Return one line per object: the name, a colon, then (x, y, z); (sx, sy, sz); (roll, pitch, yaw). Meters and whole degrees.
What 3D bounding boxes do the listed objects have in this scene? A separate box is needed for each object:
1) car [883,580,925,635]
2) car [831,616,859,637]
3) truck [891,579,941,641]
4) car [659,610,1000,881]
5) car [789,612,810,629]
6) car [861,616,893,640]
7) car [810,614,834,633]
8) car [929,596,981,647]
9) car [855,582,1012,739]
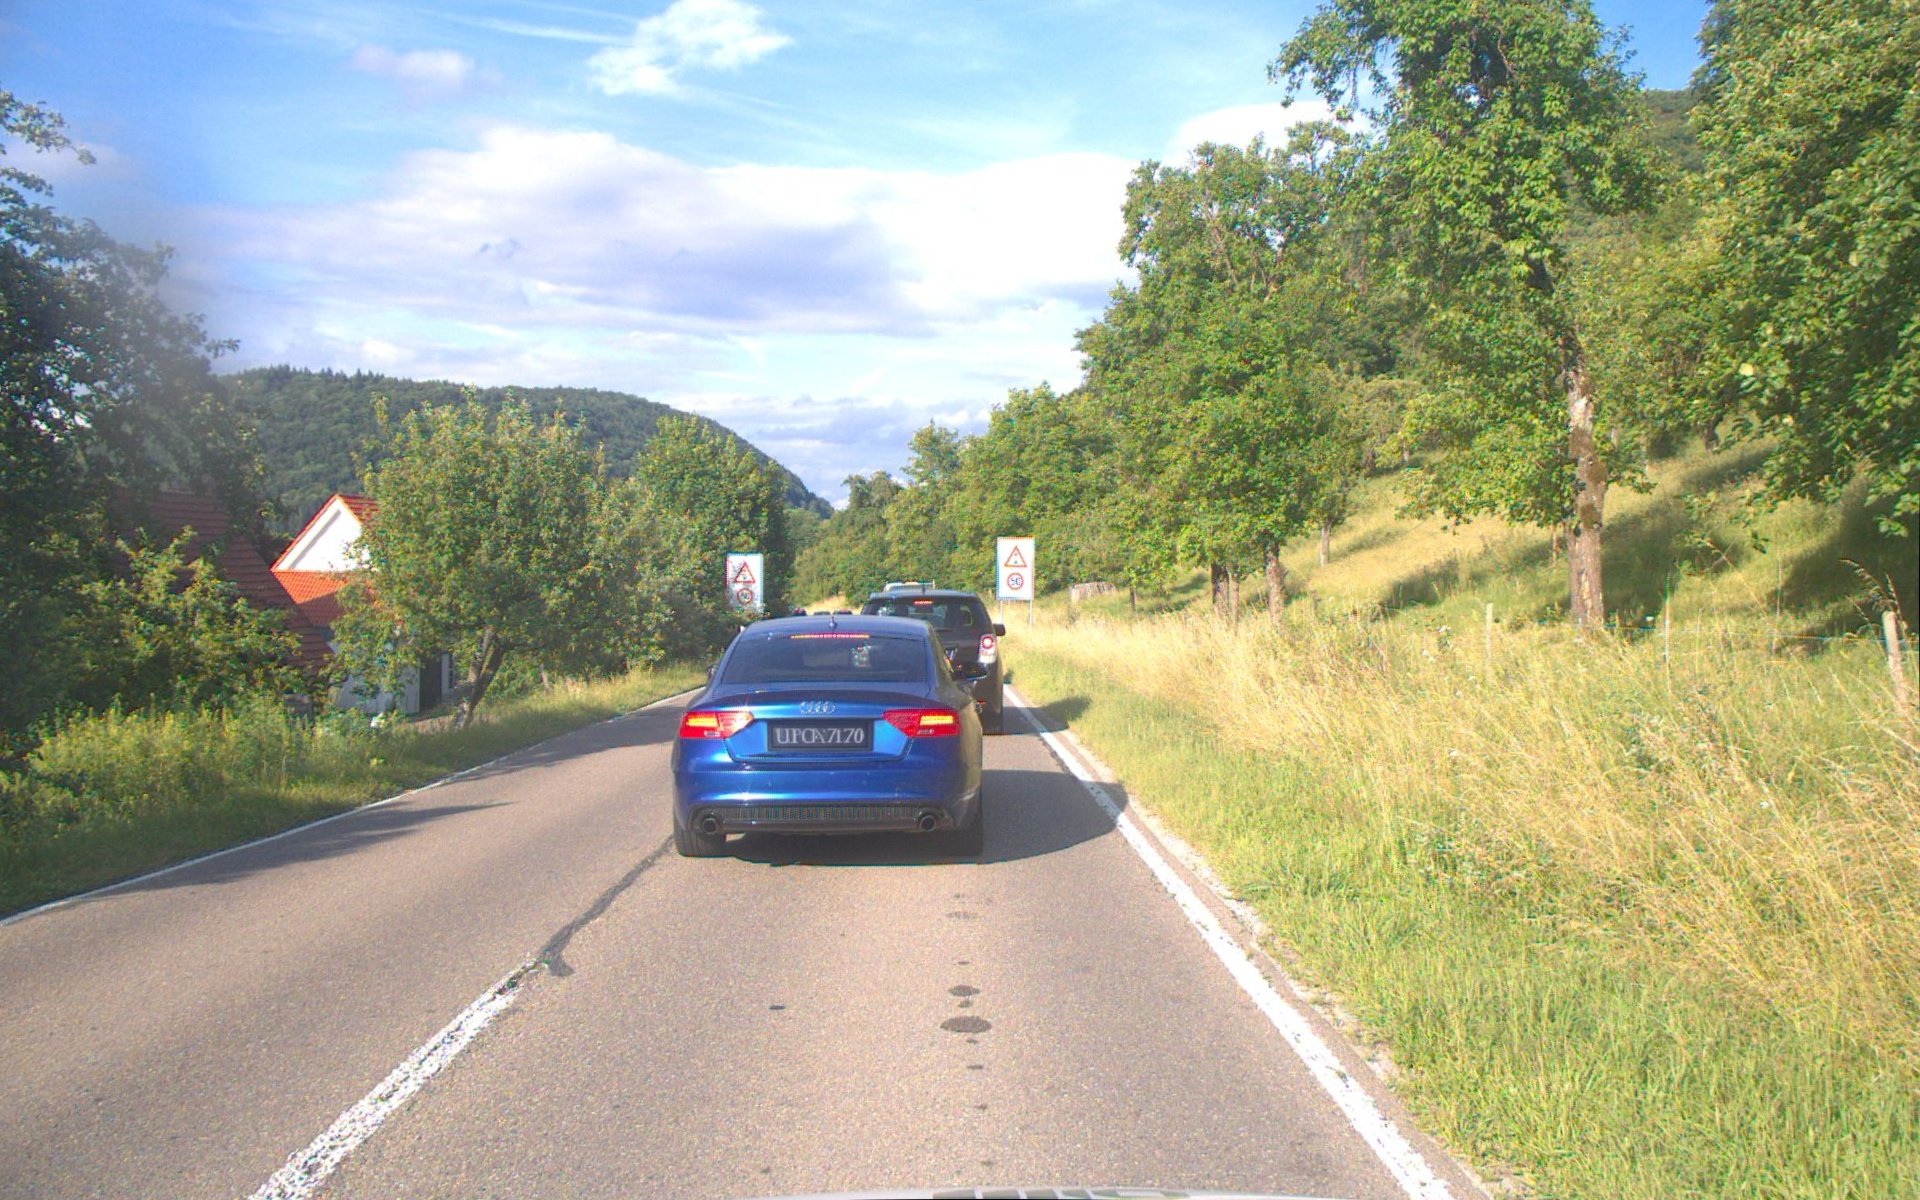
car: (-2.658, 0.346, 78.090); (1.757, 2.496, 3.916); (2, 0, -4)
car: (-9.060, 2.078, 130.224); (1.717, 1.522, 3.767); (2, 0, -12)
truck: (-1.826, 0.411, 68.343); (1.911, 2.386, 5.092); (2, 0, -2)
car: (-0.703, 0.772, 10.713); (1.769, 1.406, 4.214); (0, 0, -1)
car: (-15.409, 1.955, 158.665); (1.532, 1.522, 3.765); (2, 0, -13)
car: (-5.578, 1.870, 110.845); (1.716, 1.522, 3.770); (2, 0, -9)
car: (-11.935, 2.028, 142.966); (1.531, 1.522, 3.766); (2, 0, -12)
car: (-0.190, 0.691, 55.352); (1.658, 1.652, 3.788); (1, 0, -1)
car: (-0.322, 0.642, 19.502); (1.658, 1.652, 3.788); (1, 0, -1)
